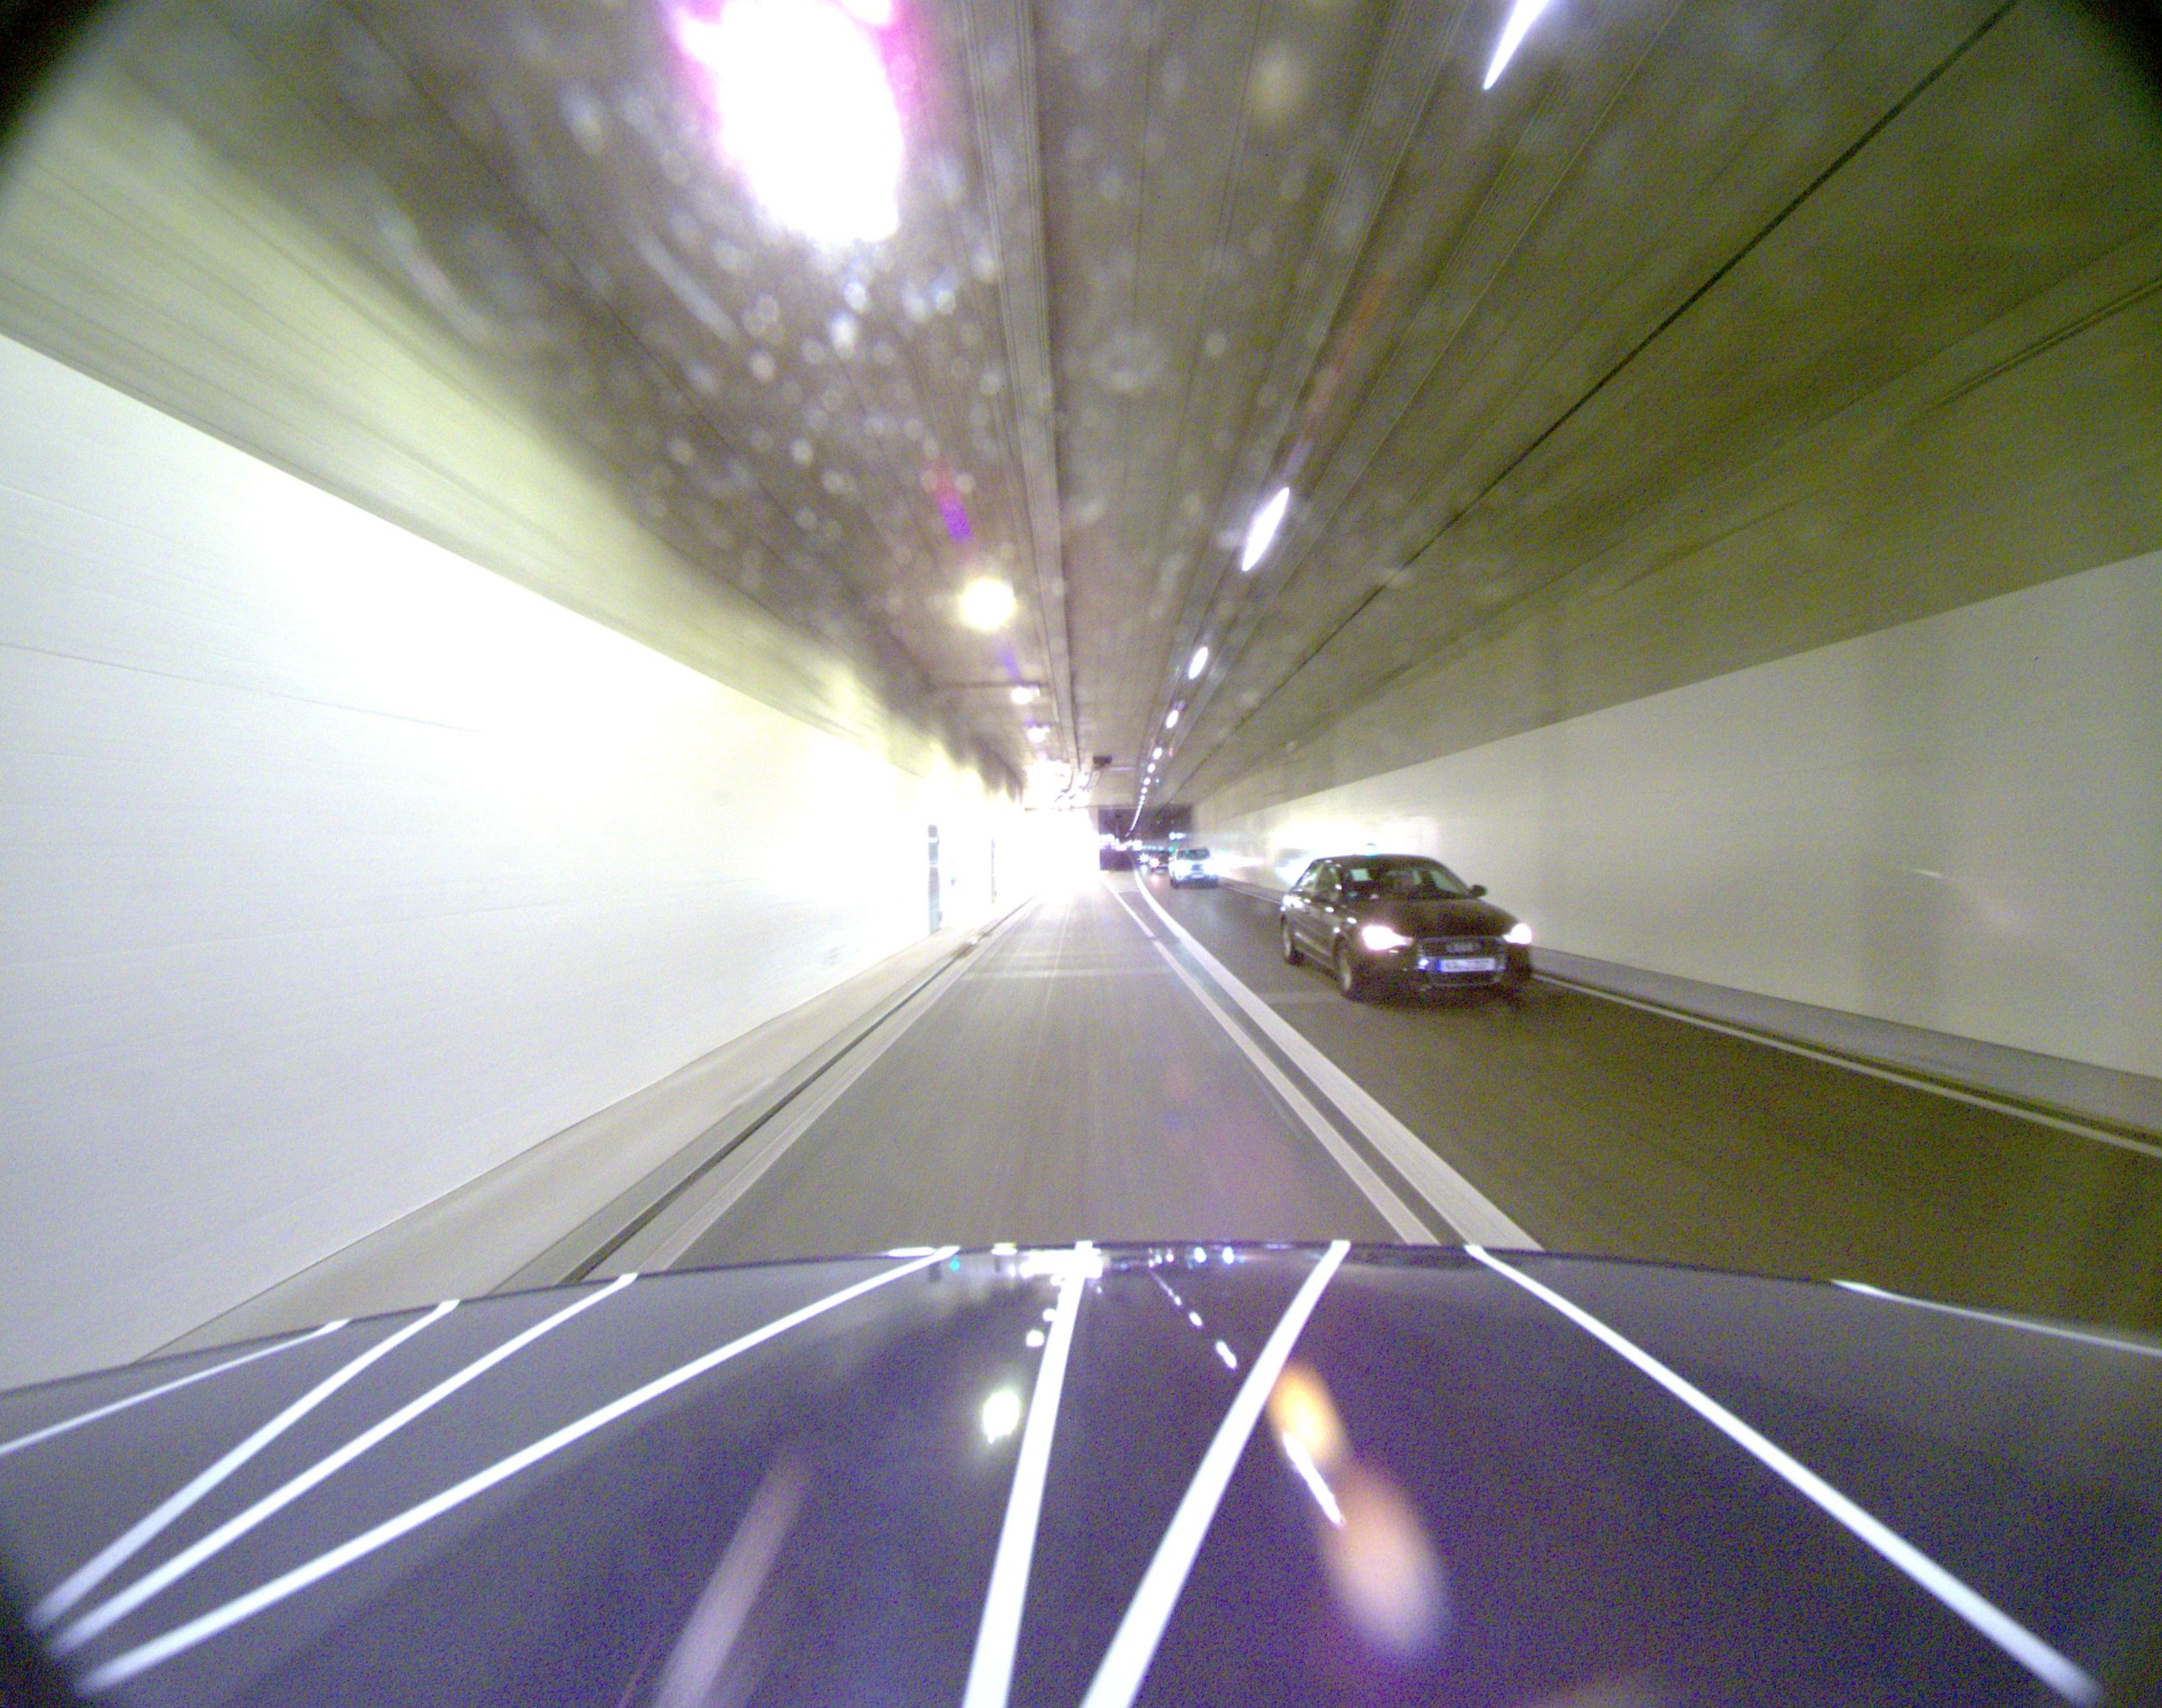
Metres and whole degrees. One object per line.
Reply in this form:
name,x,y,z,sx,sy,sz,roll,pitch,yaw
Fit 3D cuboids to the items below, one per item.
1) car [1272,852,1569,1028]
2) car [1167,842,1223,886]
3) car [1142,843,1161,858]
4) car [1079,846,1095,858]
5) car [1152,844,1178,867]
car,3.424,0.744,8.517,1.660,1.393,3.876,-3,1,2
car,4.774,0.376,32.179,1.853,1.655,3.831,-3,1,2
car,7.360,-0.381,79.381,1.718,1.444,3.680,-5,1,2
car,0.778,-0.226,95.893,1.829,1.328,4.000,-3,1,4
car,6.167,0.100,55.947,1.607,1.462,3.681,-5,1,4
